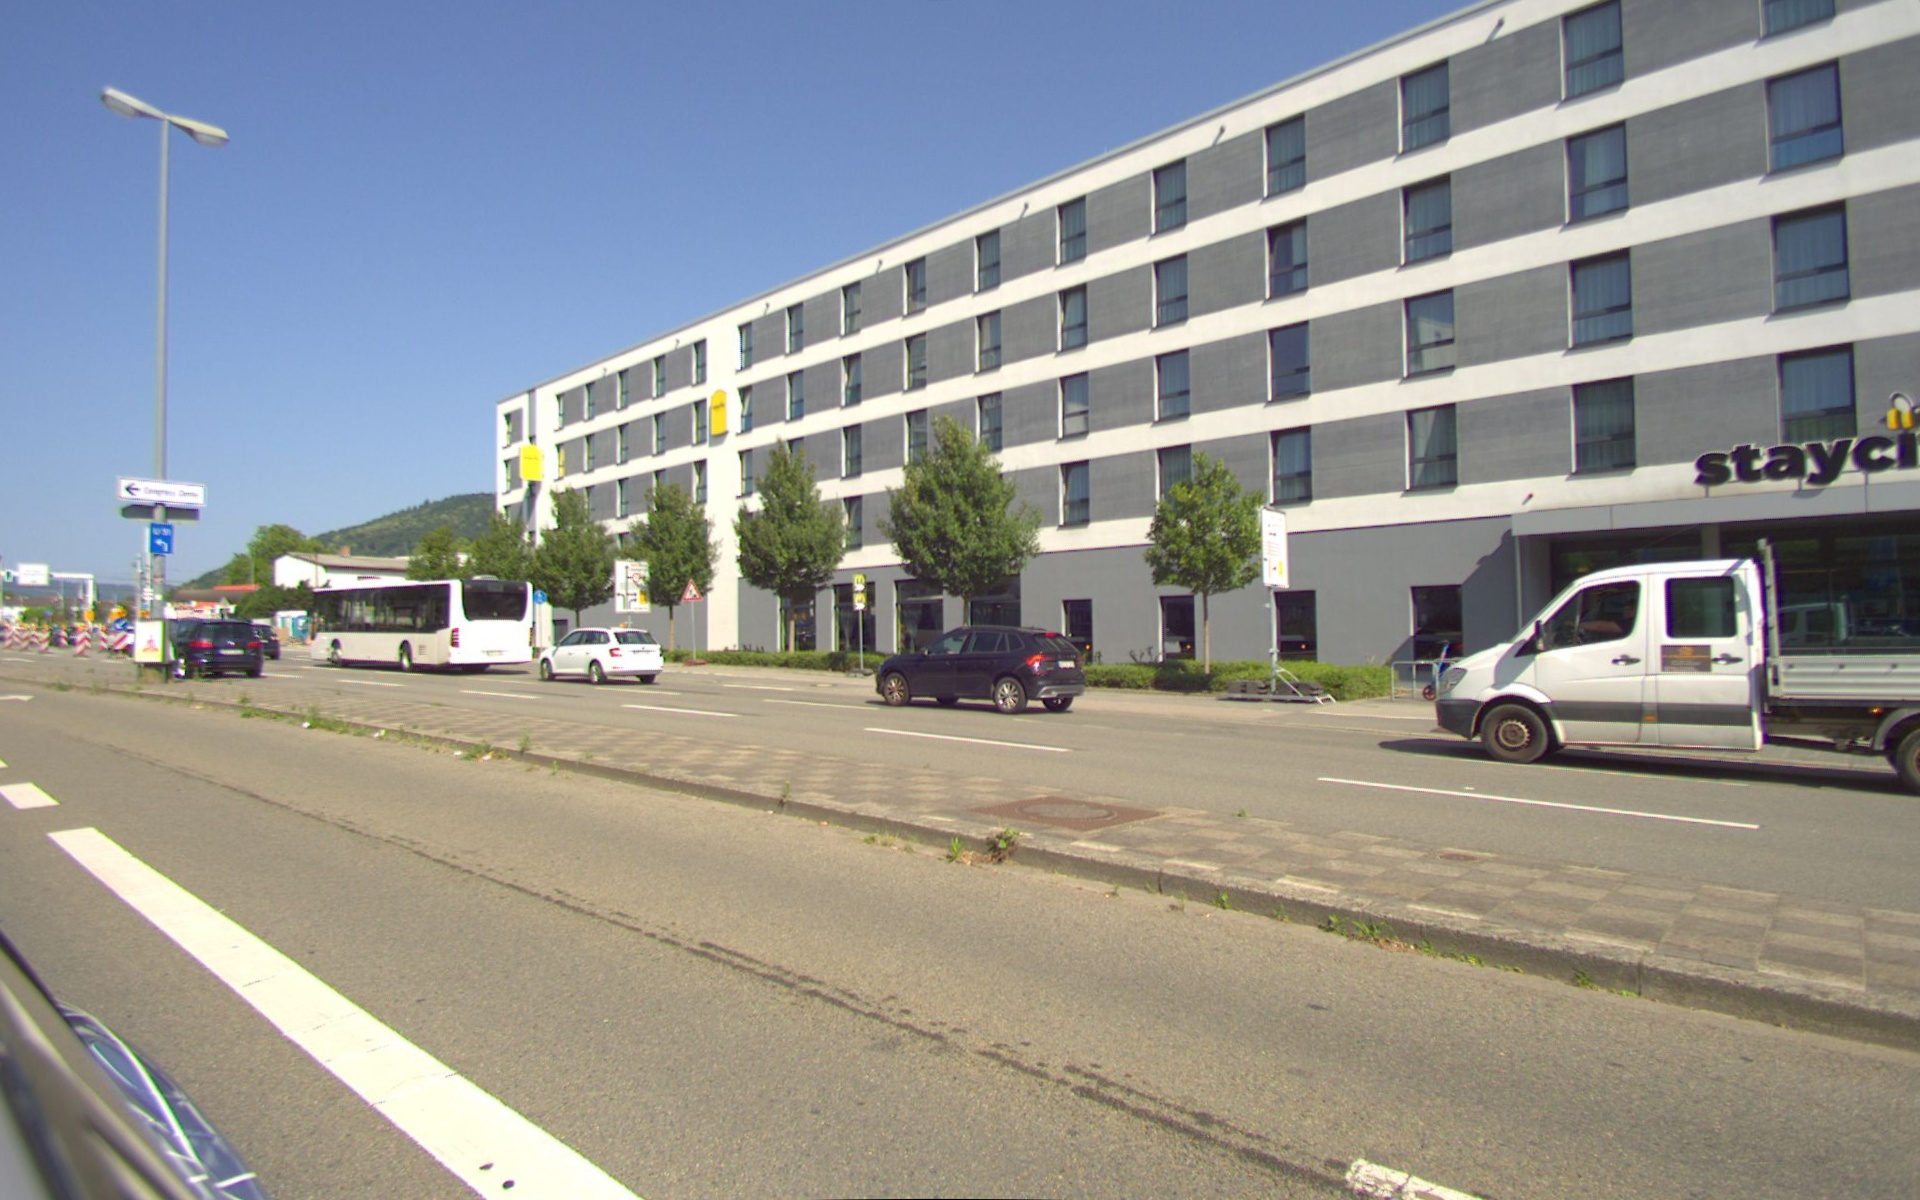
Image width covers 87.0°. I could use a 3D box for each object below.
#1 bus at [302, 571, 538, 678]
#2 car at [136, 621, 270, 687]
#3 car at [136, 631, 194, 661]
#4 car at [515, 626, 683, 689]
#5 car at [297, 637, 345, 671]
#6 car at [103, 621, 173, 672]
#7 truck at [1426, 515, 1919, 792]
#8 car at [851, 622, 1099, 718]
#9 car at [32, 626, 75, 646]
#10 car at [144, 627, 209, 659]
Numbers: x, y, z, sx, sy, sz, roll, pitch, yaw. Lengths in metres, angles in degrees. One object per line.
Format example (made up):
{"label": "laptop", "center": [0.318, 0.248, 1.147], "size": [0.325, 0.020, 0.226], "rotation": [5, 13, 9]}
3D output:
{"label": "bus", "center": [-18.593, 0.858, 34.253], "size": [11.966, 3.102, 2.710], "rotation": [-1, -4, 40]}
{"label": "car", "center": [-20.202, 1.382, 26.953], "size": [4.129, 1.630, 1.867], "rotation": [-1, -2, 39]}
{"label": "car", "center": [-45.521, 2.623, 57.923], "size": [3.584, 1.631, 1.699], "rotation": [-1, -1, 36]}
{"label": "car", "center": [-9.588, 1.493, 26.785], "size": [4.403, 1.497, 1.976], "rotation": [0, -4, 36]}
{"label": "car", "center": [-24.992, 2.105, 39.564], "size": [2.219, 1.216, 1.044], "rotation": [0, 0, 42]}
{"label": "car", "center": [-35.546, 1.960, 43.714], "size": [4.162, 2.029, 1.658], "rotation": [0, 0, 41]}
{"label": "truck", "center": [8.816, 0.566, 10.995], "size": [6.434, 2.565, 2.332], "rotation": [-2, -4, 41]}
{"label": "car", "center": [0.202, 1.239, 18.890], "size": [4.411, 1.590, 1.972], "rotation": [-1, -4, 42]}
{"label": "car", "center": [-71.644, 2.821, 79.957], "size": [4.888, 1.534, 1.973], "rotation": [-1, -2, 41]}
{"label": "car", "center": [-39.111, 2.110, 50.495], "size": [3.996, 1.462, 1.742], "rotation": [0, 0, 40]}
